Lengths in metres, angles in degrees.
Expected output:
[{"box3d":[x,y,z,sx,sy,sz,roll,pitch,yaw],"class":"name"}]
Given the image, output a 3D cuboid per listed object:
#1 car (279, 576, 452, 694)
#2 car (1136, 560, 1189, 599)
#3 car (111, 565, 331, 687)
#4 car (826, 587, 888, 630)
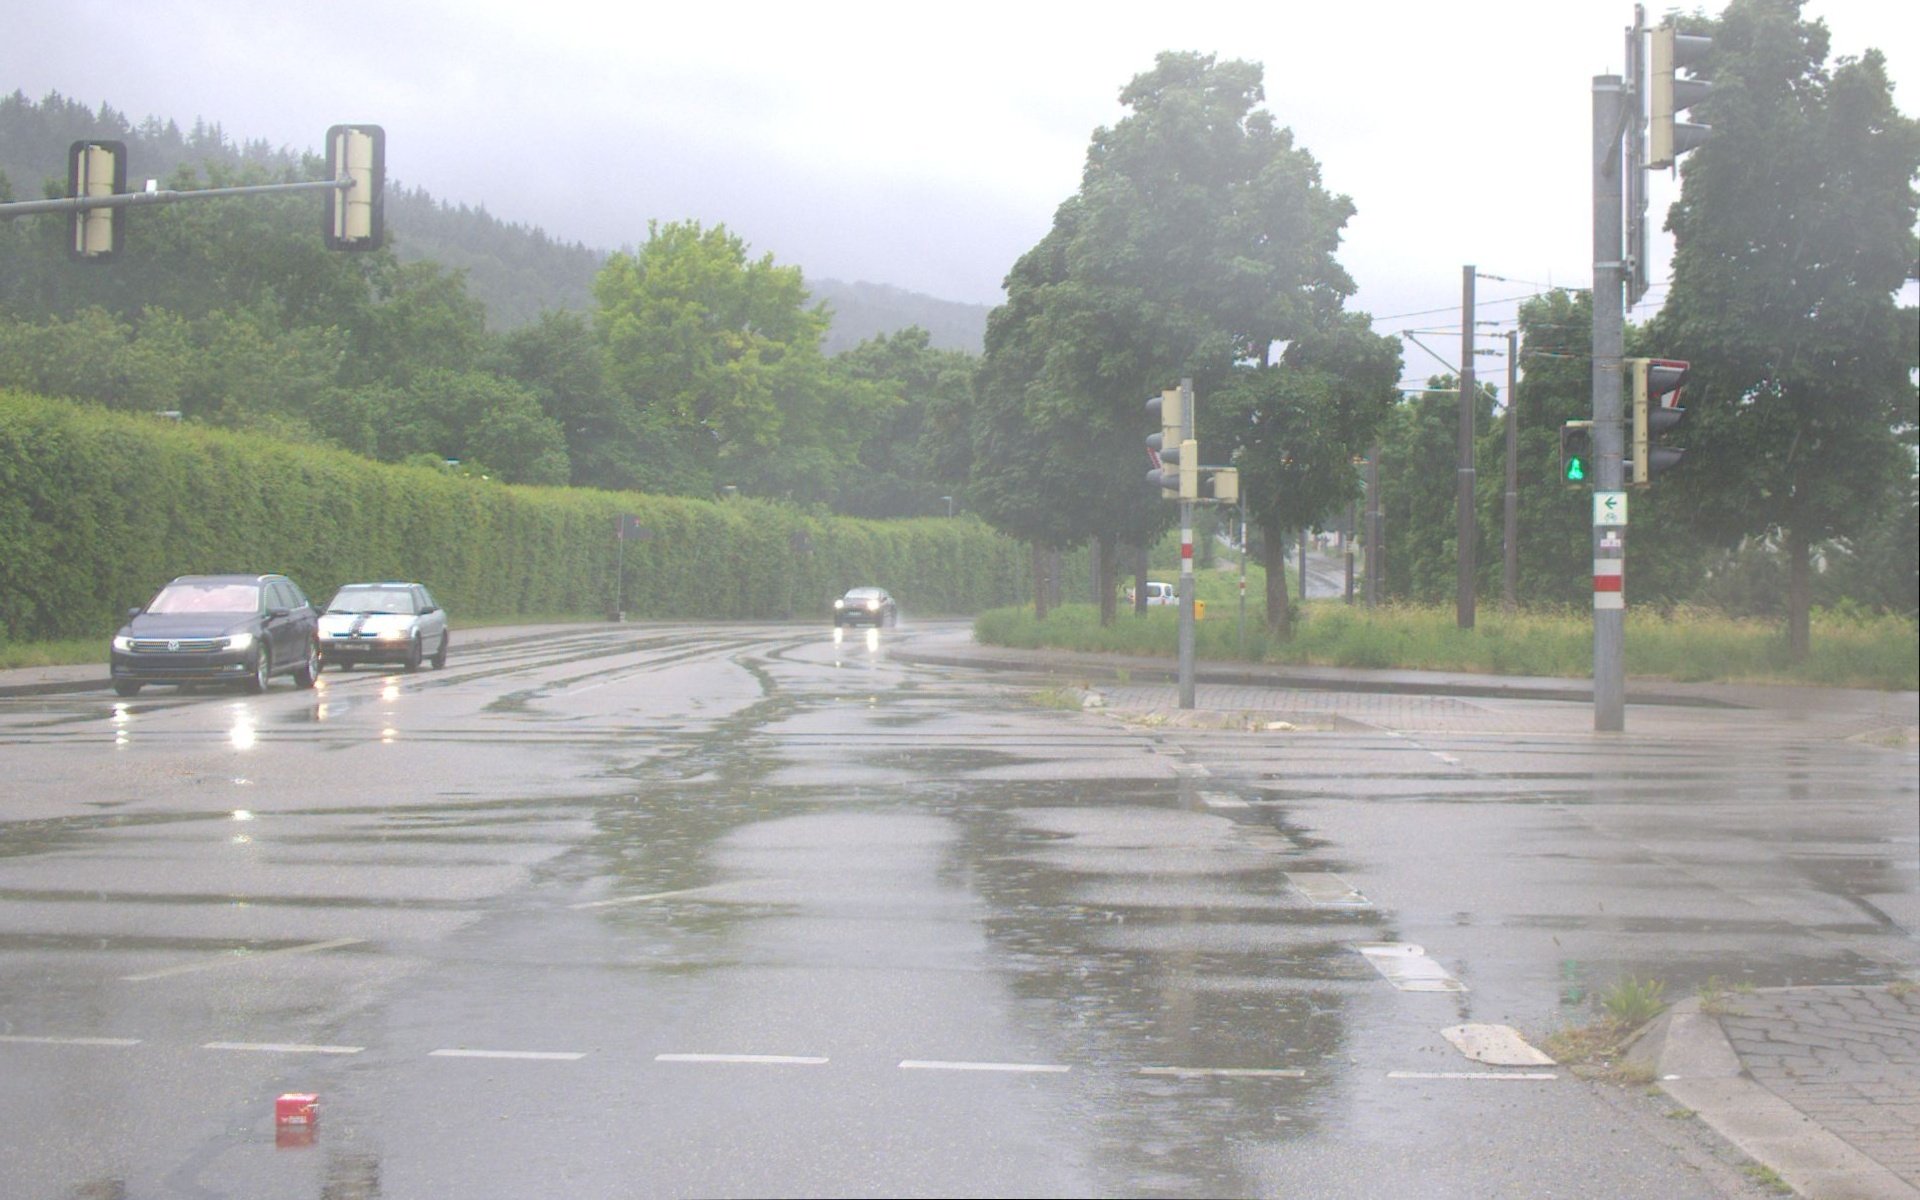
[{"box3d":[-9.252,0.513,53.785,2.036,1.702,4.066,1,1,-1],"class":"car"},{"box3d":[10.011,-1.027,169.593,1.954,1.897,4.118,0,1,13],"class":"car"},{"box3d":[-9.274,0.290,43.497,1.708,1.461,4.453,0,1,2],"class":"car"},{"box3d":[-3.895,0.312,130.819,1.785,1.499,4.060,1,2,6],"class":"car"}]
